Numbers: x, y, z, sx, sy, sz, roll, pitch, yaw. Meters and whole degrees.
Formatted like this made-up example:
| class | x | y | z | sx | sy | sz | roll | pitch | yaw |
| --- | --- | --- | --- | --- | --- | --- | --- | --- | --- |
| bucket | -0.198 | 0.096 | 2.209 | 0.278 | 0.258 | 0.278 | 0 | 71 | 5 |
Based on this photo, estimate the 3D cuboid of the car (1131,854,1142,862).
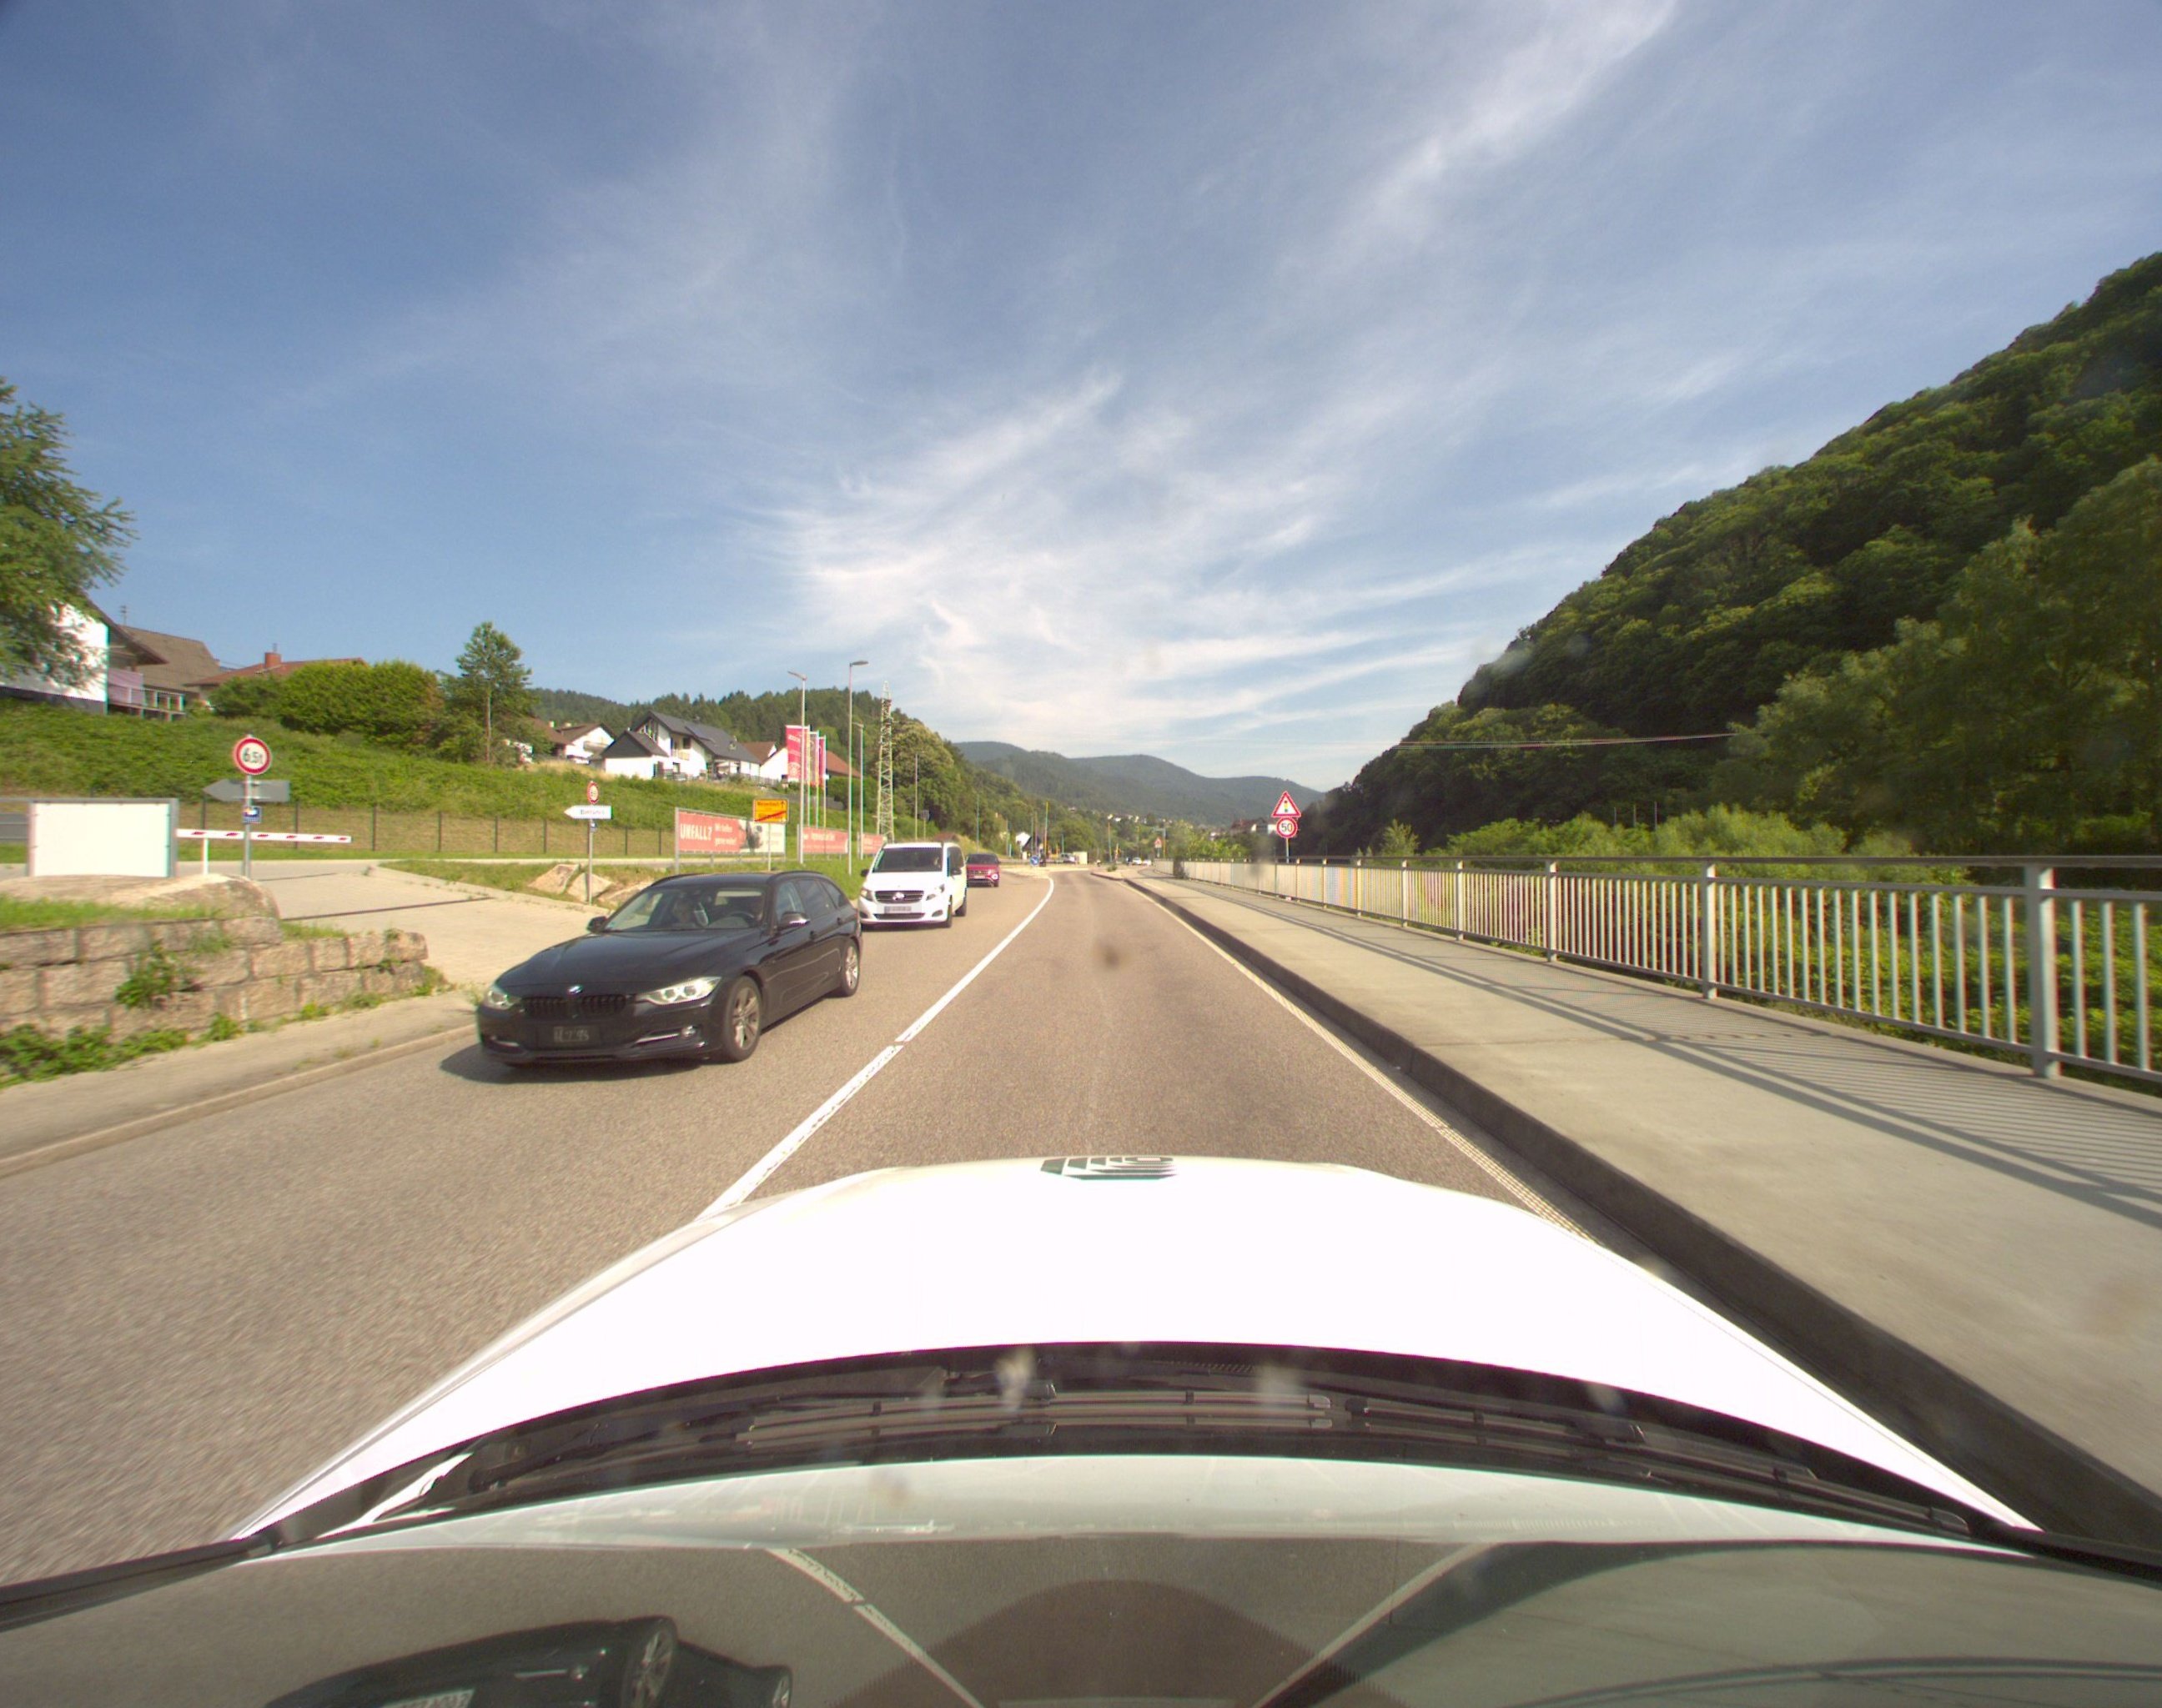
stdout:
| class | x | y | z | sx | sy | sz | roll | pitch | yaw |
| --- | --- | --- | --- | --- | --- | --- | --- | --- | --- |
| car | 11.996 | 0.963 | 176.601 | 1.751 | 1.561 | 4.014 | -1 | -3 | 14 |

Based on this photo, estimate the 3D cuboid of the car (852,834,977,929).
| class | x | y | z | sx | sy | sz | roll | pitch | yaw |
| --- | --- | --- | --- | --- | --- | --- | --- | --- | --- |
| car | -3.706 | 0.543 | 19.124 | 1.891 | 1.887 | 5.293 | -1 | 0 | -1 |

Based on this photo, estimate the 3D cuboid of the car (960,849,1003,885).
| class | x | y | z | sx | sy | sz | roll | pitch | yaw |
| --- | --- | --- | --- | --- | --- | --- | --- | --- | --- |
| car | -4.619 | 0.572 | 38.359 | 1.702 | 1.584 | 4.154 | 0 | 0 | -3 |

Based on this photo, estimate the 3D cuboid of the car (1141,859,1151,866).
| class | x | y | z | sx | sy | sz | roll | pitch | yaw |
| --- | --- | --- | --- | --- | --- | --- | --- | --- | --- |
| car | 15.413 | 1.987 | 193.462 | 1.776 | 1.400 | 4.826 | 1 | 1 | 0 |

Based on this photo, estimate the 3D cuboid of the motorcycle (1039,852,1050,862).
| class | x | y | z | sx | sy | sz | roll | pitch | yaw |
| --- | --- | --- | --- | --- | --- | --- | --- | --- | --- |
| motorcycle | -4.207 | 0.354 | 94.566 | 0.895 | 1.183 | 2.296 | 0 | 0 | -12 |

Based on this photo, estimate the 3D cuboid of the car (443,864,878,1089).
| class | x | y | z | sx | sy | sz | roll | pitch | yaw |
| --- | --- | --- | --- | --- | --- | --- | --- | --- | --- |
| car | -3.356 | 0.852 | 7.591 | 1.767 | 1.399 | 4.234 | -2 | 0 | 1 |

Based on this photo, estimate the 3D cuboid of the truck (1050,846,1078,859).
| class | x | y | z | sx | sy | sz | roll | pitch | yaw |
| --- | --- | --- | --- | --- | --- | --- | --- | --- | --- |
| truck | -3.363 | -0.226 | 160.462 | 5.929 | 2.266 | 2.011 | 3 | 1 | 44 |
